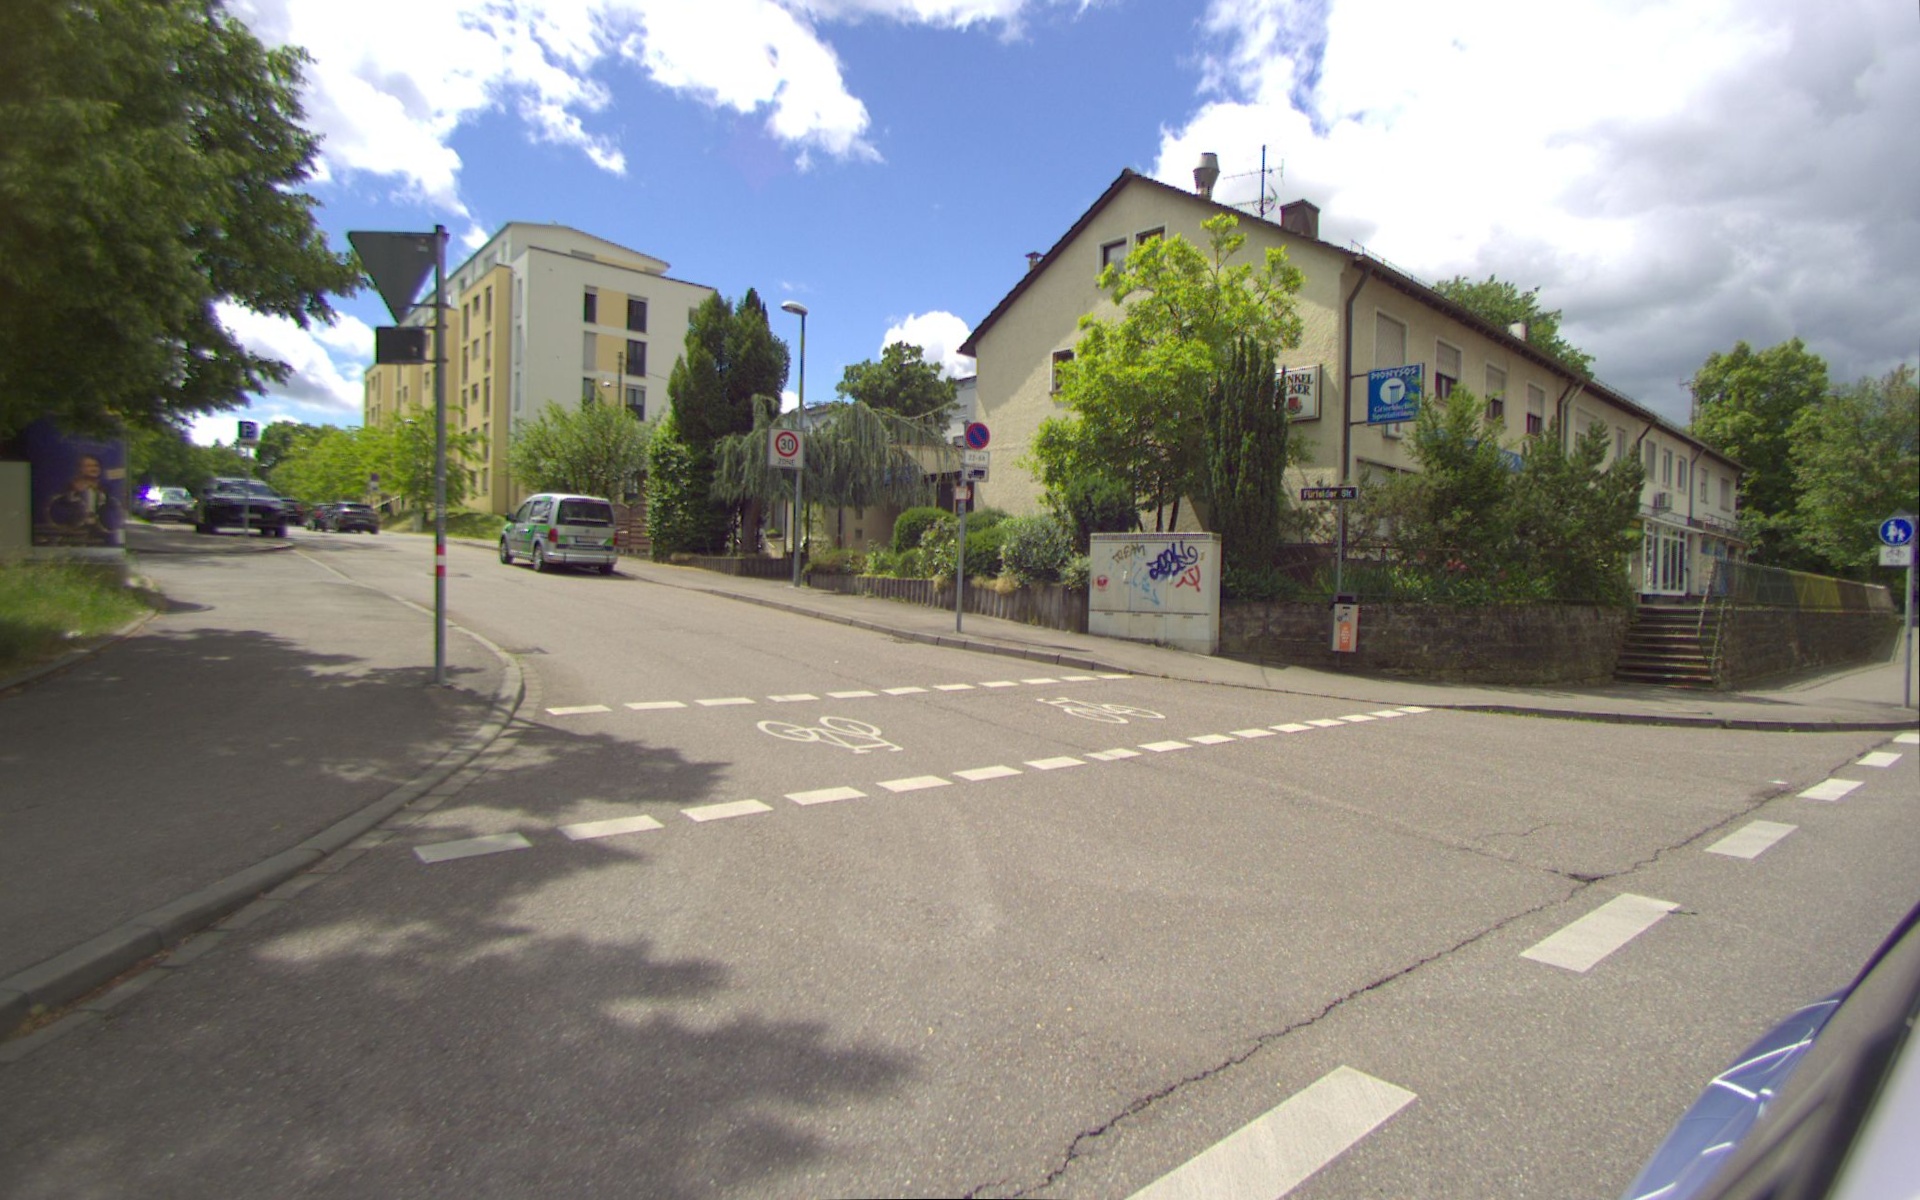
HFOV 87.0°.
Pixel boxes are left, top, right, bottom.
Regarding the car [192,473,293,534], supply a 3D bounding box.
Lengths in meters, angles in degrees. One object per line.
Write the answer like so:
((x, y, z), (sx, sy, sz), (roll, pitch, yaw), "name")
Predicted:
((-21.459, -2.849, 30.205), (1.966, 1.604, 4.322), (0, 3, -42), "car")

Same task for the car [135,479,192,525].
((-38.076, -4.682, 48.366), (1.965, 2.037, 3.997), (0, 4, -41), "car")

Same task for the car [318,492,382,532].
((-29.409, -4.249, 48.757), (1.918, 1.737, 3.996), (0, 4, -42), "car")

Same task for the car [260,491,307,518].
((-43.494, -6.154, 65.013), (1.966, 1.604, 3.995), (0, 4, -42), "car")

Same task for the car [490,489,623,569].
((-9.759, -1.741, 24.317), (1.661, 1.737, 3.996), (1, 4, -42), "car")
